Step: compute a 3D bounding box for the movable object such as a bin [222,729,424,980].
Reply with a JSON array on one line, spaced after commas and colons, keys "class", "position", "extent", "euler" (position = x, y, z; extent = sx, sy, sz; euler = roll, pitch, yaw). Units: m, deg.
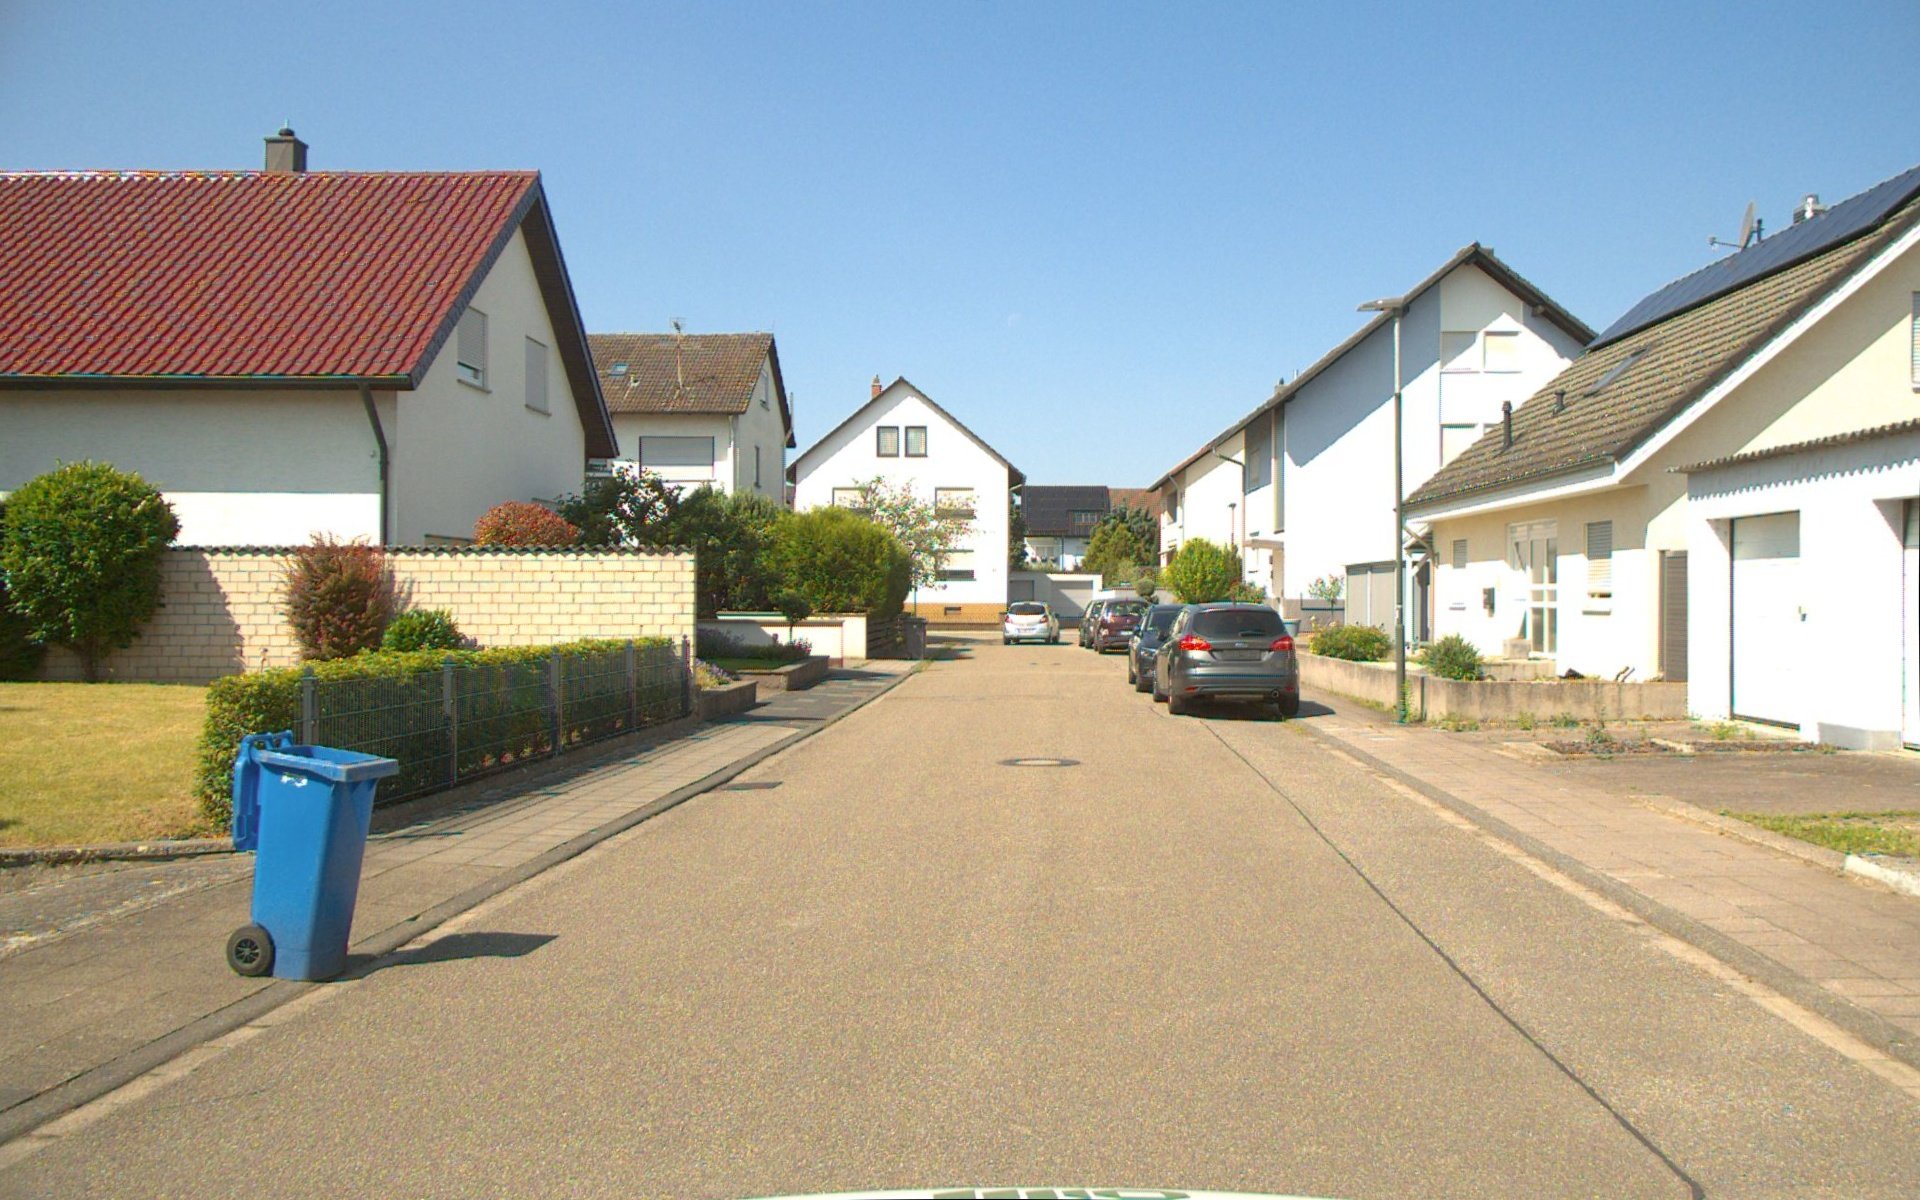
[{"class": "movable object such as a bin", "position": [-2.613, 1.028, 6.831], "extent": [0.570, 0.932, 0.598], "euler": [1, 0, 3]}]

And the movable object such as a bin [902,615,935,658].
[{"class": "movable object such as a bin", "position": [-1.059, 0.948, 42.592], "extent": [0.801, 1.082, 0.611], "euler": [-1, 0, 1]}]

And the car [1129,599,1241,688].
[{"class": "car", "position": [3.925, 0.721, 29.436], "extent": [1.681, 1.464, 4.505], "euler": [0, 0, 4]}]

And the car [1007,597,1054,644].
[{"class": "car", "position": [2.486, 0.692, 58.485], "extent": [1.611, 1.609, 3.810], "euler": [0, 0, 2]}]

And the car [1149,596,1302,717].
[{"class": "car", "position": [3.678, 0.727, 23.500], "extent": [1.608, 1.504, 4.001], "euler": [1, 1, 1]}]

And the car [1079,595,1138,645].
[{"class": "car", "position": [4.906, 0.639, 54.962], "extent": [1.611, 1.573, 4.048], "euler": [0, 0, 0]}]

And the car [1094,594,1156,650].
[{"class": "car", "position": [4.947, 0.616, 49.934], "extent": [1.611, 1.609, 4.148], "euler": [0, 0, 2]}]

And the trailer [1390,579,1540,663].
[{"class": "trailer", "position": [10.640, 0.434, 34.955], "extent": [2.775, 1.719, 1.403], "euler": [0, 0, 3]}]
